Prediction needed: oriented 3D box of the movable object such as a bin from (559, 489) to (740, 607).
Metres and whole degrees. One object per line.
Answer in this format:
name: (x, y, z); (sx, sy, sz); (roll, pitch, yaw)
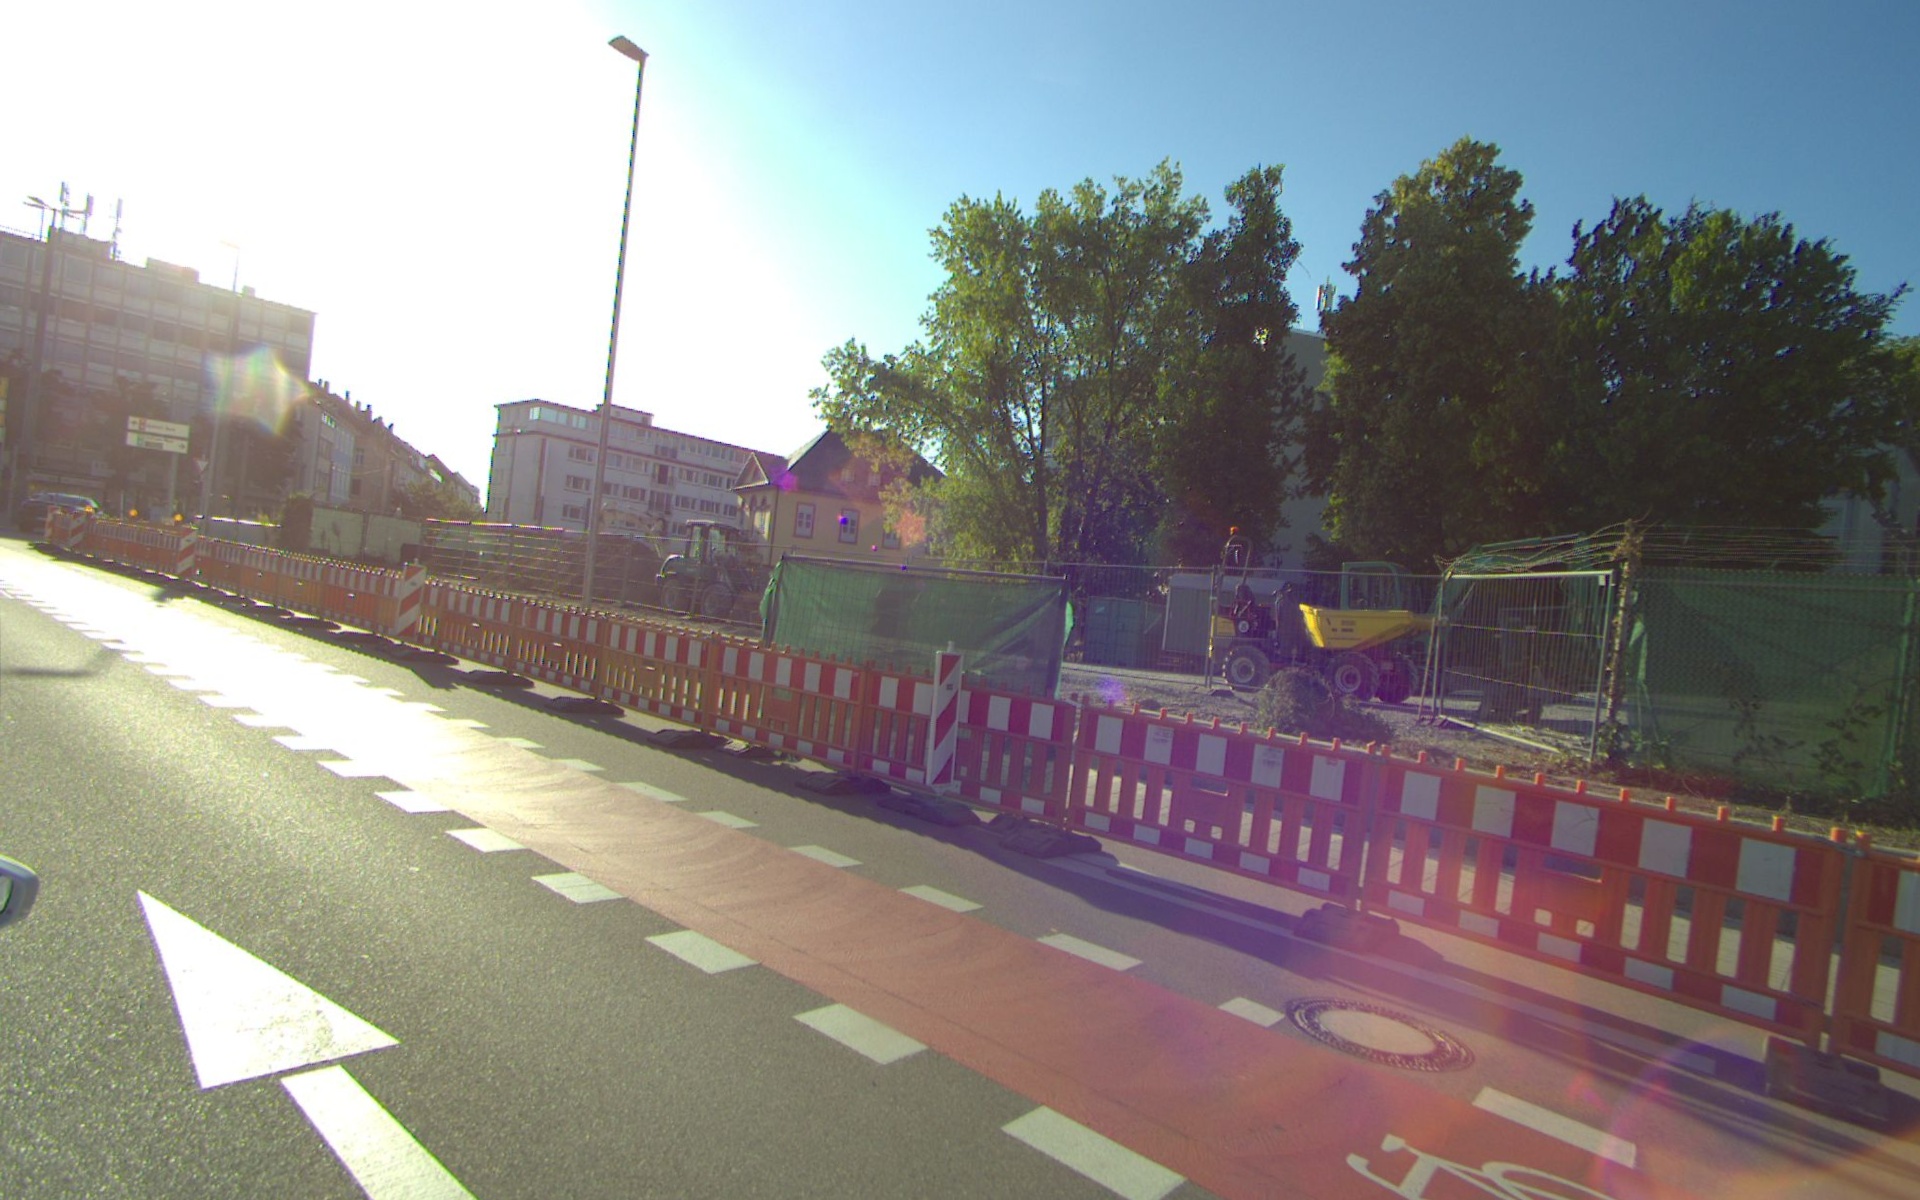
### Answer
movable object such as a bin: (-11.972, -1.936, 38.797); (6.005, 3.602, 2.843); (7, 0, -26)

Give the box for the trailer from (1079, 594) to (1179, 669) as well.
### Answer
trailer: (5.689, 1.077, 33.766); (2.192, 2.349, 2.946); (1, -3, 36)

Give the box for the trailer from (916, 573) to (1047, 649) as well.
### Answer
trailer: (0.853, 0.467, 35.948); (2.192, 2.349, 5.030); (1, -3, 35)

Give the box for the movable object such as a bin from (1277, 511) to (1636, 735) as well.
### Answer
movable object such as a bin: (9.325, 0.310, 19.289); (5.426, 3.602, 2.270); (7, 1, 44)

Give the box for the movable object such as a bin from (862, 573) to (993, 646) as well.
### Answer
movable object such as a bin: (-1.122, 0.432, 37.225); (2.192, 2.349, 5.030); (1, -3, 35)

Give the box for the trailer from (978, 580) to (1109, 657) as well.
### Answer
trailer: (2.988, 0.716, 34.827); (2.192, 2.349, 5.030); (1, -3, 35)

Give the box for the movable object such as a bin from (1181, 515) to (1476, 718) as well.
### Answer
movable object such as a bin: (6.125, 0.209, 17.019); (1.987, 2.940, 3.950); (6, 1, -44)

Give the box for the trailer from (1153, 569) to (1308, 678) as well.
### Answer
trailer: (8.417, 0.767, 31.306); (3.928, 3.126, 2.609); (0, -3, 36)

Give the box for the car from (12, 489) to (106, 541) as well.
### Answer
car: (-37.051, -3.477, 41.485); (1.980, 1.714, 3.967); (9, 0, -30)

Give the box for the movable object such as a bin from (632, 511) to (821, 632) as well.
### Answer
movable object such as a bin: (-6.420, -0.814, 27.384); (4.870, 2.737, 2.274); (7, 0, 39)
